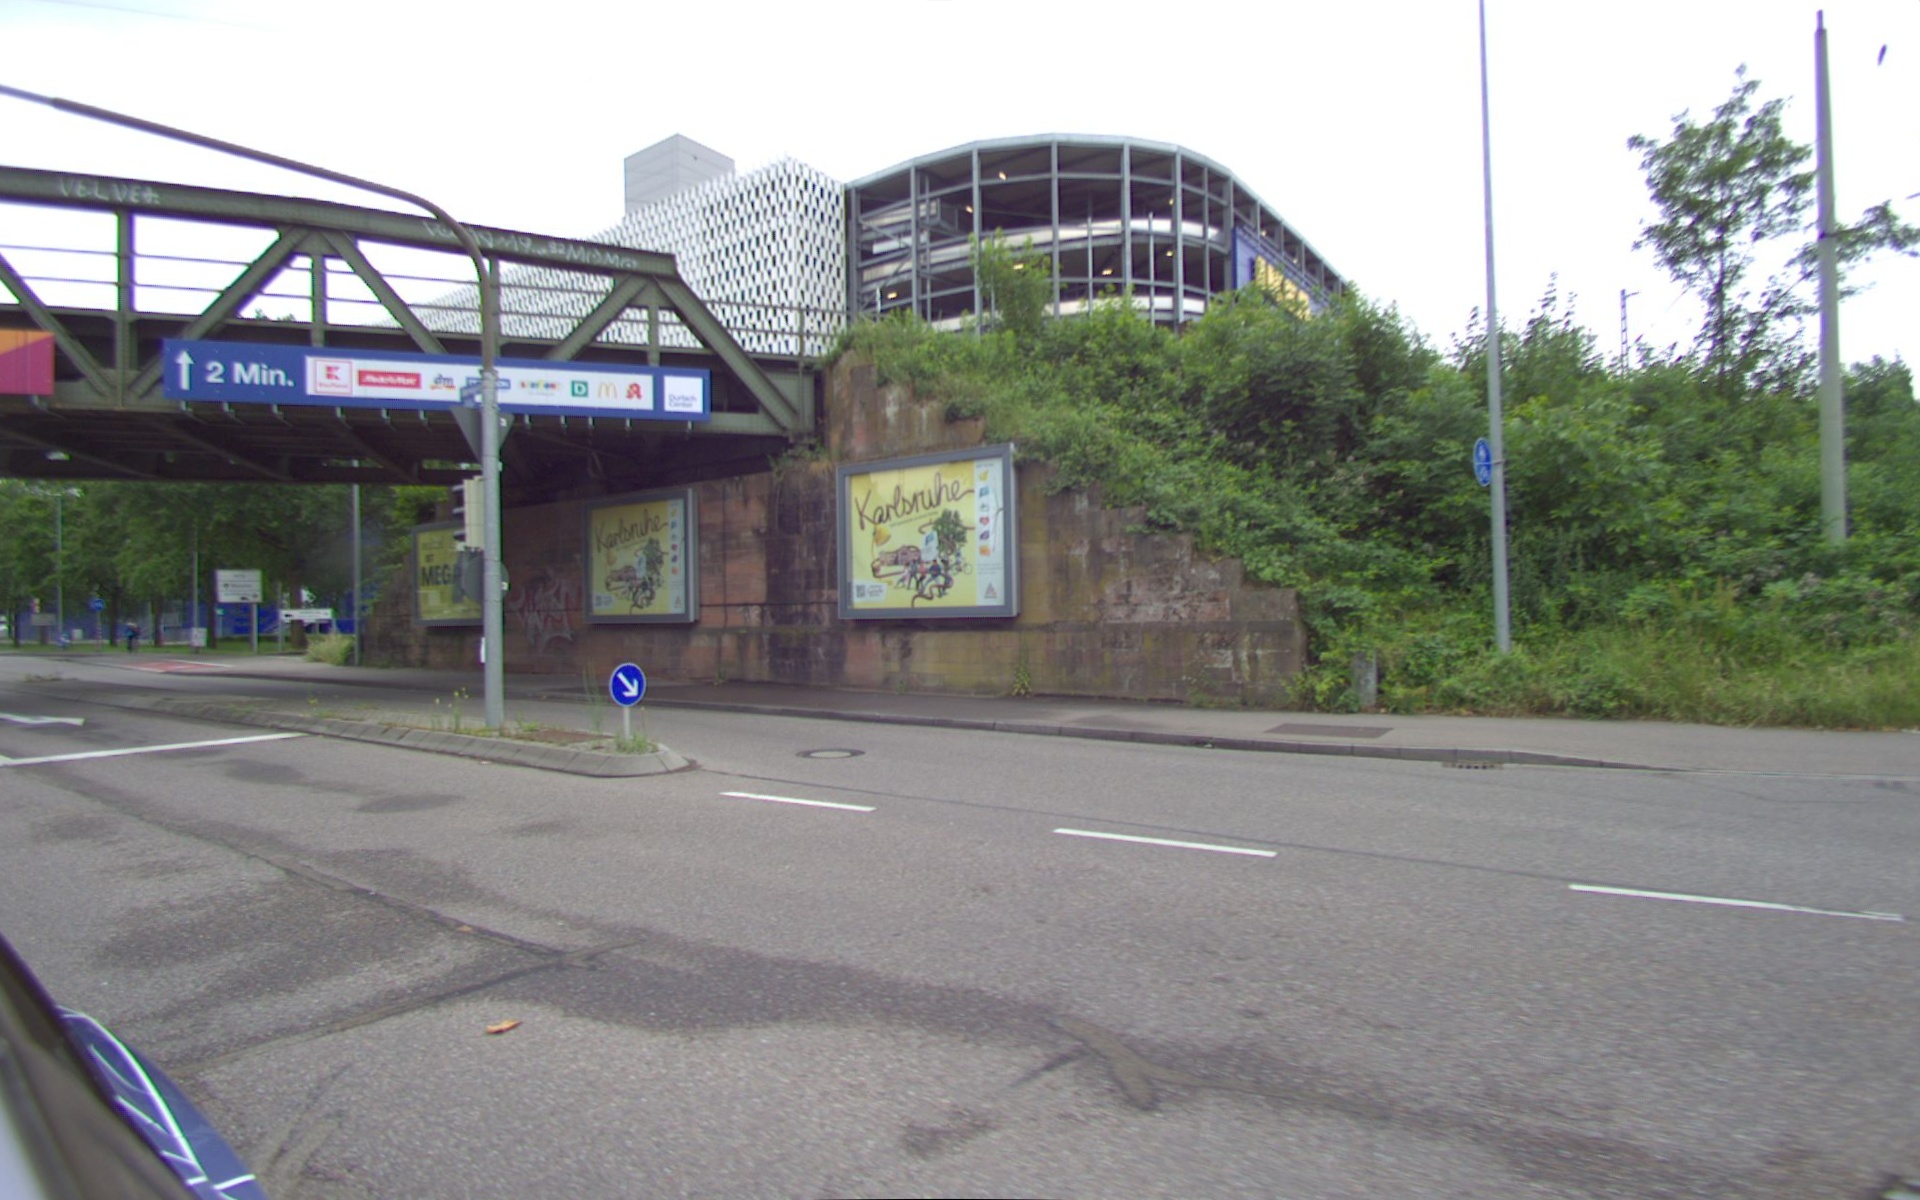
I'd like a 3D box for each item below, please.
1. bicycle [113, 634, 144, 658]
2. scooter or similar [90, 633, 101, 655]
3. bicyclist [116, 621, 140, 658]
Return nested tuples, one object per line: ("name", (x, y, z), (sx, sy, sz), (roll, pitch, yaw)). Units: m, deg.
("bicycle", (-44.339, 2.439, 53.949), (2.366, 1.195, 0.706), (-1, 1, 37))
("scooter or similar", (-51.354, 2.605, 60.118), (0.442, 1.331, 1.506), (0, -1, -44))
("bicyclist", (-44.356, 2.087, 53.943), (1.018, 1.888, 0.695), (-1, 1, 37))
